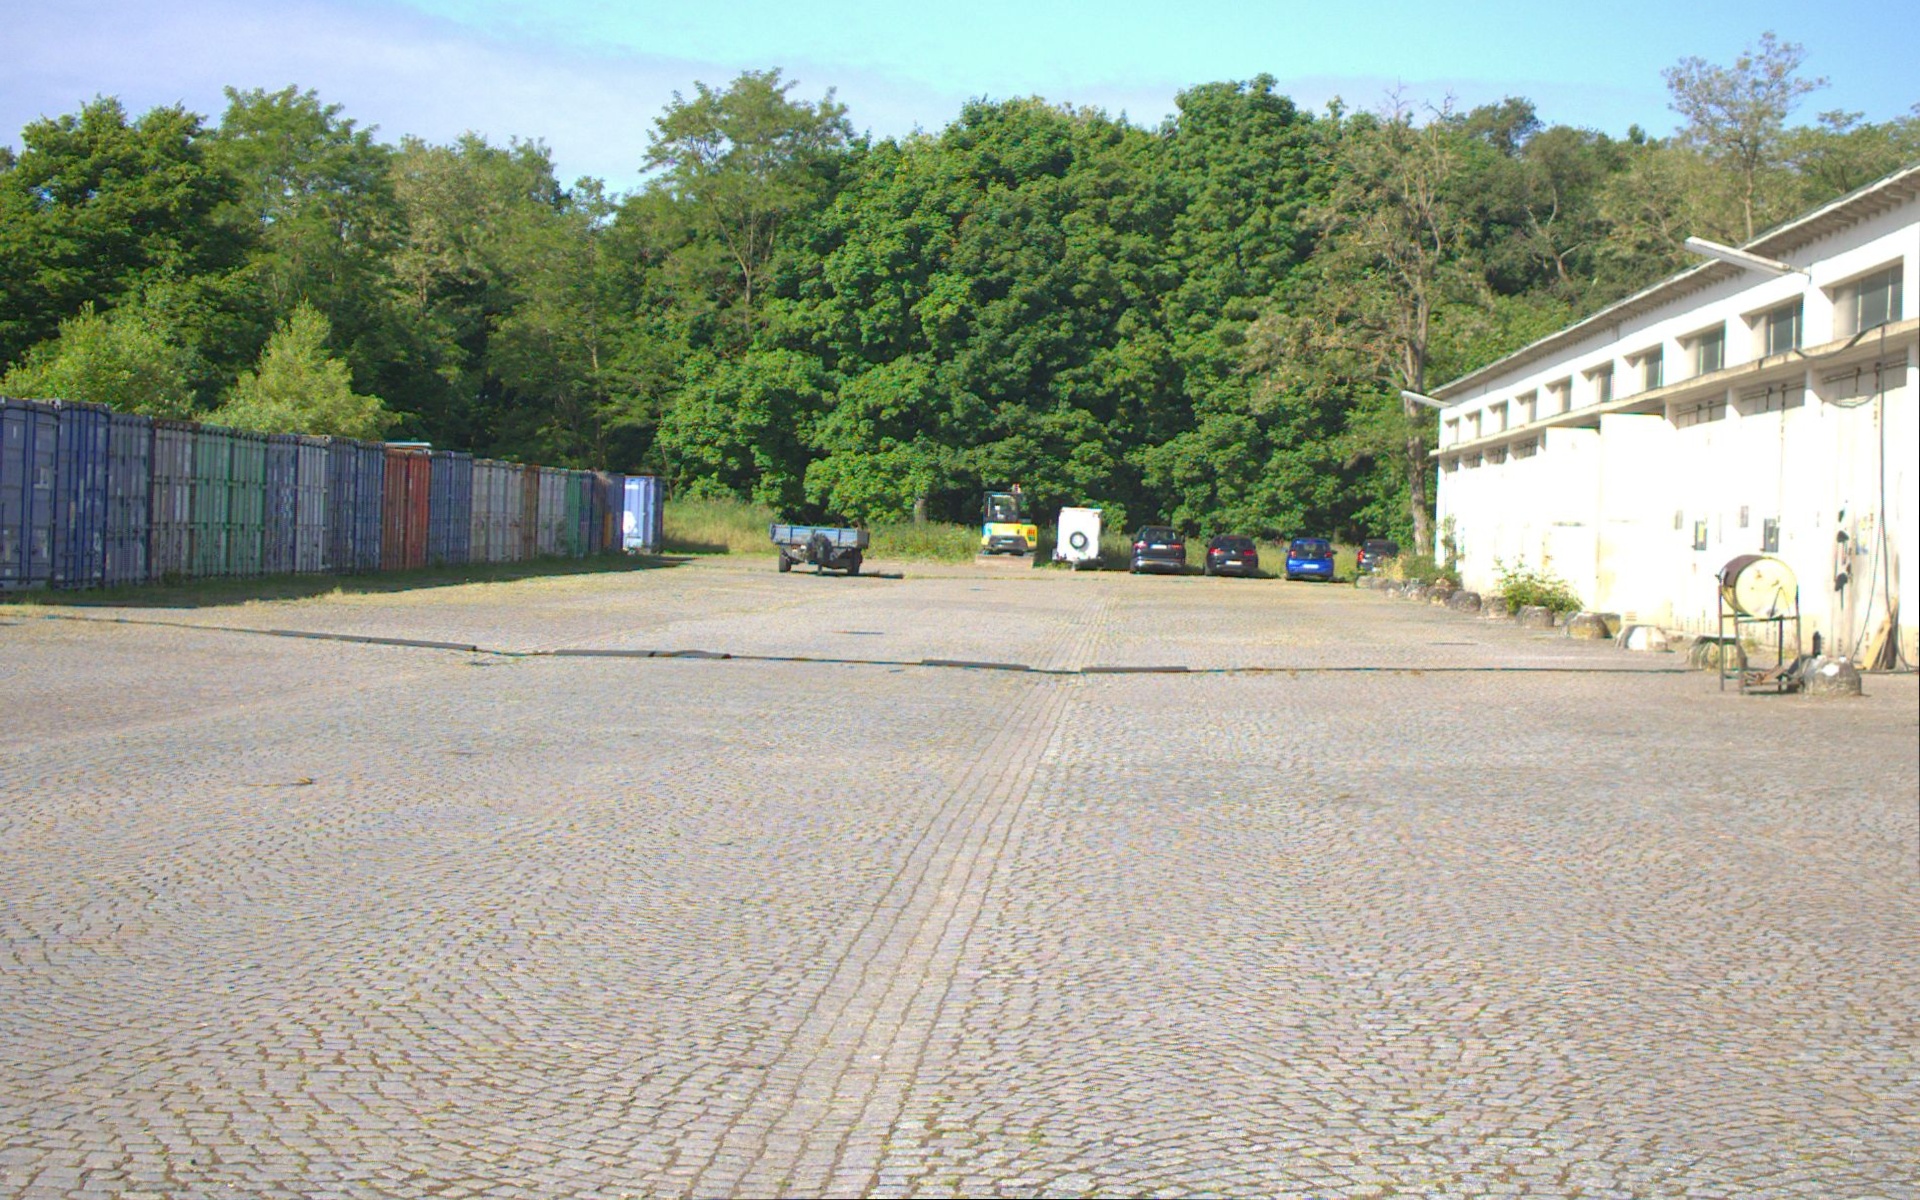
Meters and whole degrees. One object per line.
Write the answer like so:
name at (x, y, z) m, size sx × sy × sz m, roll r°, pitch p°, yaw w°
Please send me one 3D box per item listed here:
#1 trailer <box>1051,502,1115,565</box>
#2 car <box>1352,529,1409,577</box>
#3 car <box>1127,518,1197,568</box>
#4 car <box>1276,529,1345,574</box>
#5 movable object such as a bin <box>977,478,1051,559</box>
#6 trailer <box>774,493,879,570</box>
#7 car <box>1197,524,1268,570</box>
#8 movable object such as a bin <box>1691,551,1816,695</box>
trailer at (4.255, -2.300, 118.637) m, size 1.794 × 2.083 × 3.970 m, roll 2°, pitch 1°, yaw 7°
car at (14.449, -1.625, 117.915) m, size 1.686 × 1.558 × 3.998 m, roll 2°, pitch 1°, yaw 10°
car at (6.881, -1.939, 116.792) m, size 1.862 × 1.580 × 3.998 m, roll 2°, pitch 1°, yaw 10°
car at (11.918, -1.648, 116.702) m, size 1.994 × 1.415 × 3.998 m, roll 2°, pitch 1°, yaw 10°
movable object such as a bin at (1.892, -2.802, 119.040) m, size 1.994 × 2.609 × 3.999 m, roll 4°, pitch 1°, yaw 7°
trailer at (-3.837, -1.994, 99.938) m, size 2.407 × 2.006 × 4.172 m, roll 4°, pitch 1°, yaw 5°
car at (9.293, -1.814, 116.850) m, size 1.994 × 1.457 × 3.998 m, roll 2°, pitch 1°, yaw 10°
movable object such as a bin at (7.654, 0.211, 33.229) m, size 0.823 × 1.327 × 1.280 m, roll 2°, pitch 1°, yaw -2°
